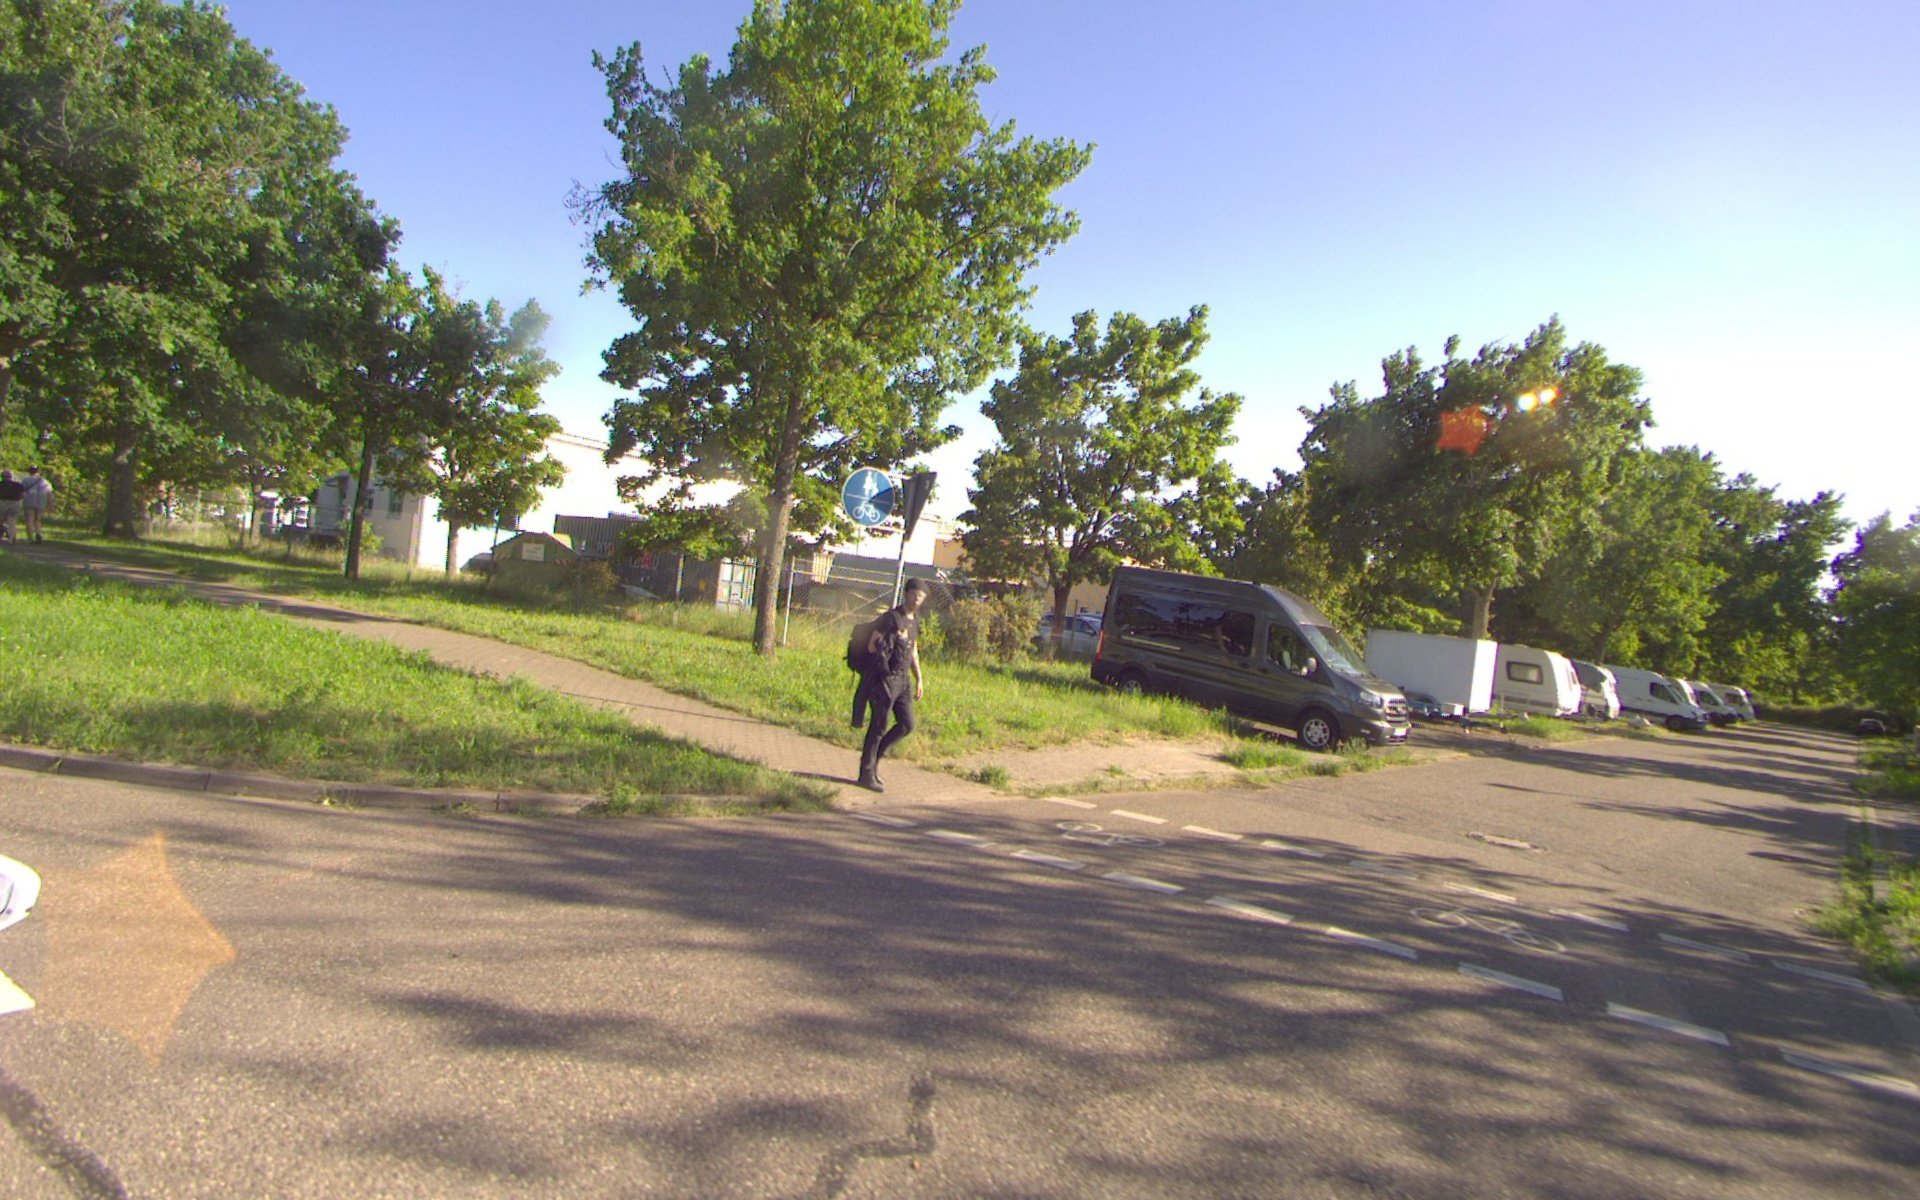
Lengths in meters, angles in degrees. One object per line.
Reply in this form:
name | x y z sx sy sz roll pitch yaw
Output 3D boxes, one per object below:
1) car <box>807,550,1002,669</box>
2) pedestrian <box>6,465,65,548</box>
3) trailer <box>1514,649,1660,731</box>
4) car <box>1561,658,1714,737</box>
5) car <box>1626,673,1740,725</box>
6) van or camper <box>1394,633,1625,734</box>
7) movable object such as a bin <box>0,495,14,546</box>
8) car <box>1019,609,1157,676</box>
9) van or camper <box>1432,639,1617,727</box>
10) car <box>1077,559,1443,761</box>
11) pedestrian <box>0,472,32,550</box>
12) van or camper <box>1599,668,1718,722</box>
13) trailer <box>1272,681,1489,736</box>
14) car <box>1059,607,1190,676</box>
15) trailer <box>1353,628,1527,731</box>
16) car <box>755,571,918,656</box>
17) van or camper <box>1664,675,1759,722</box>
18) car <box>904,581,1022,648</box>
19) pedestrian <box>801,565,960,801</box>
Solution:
car | -1.578 0.239 27.932 4.770 2.676 2.162 7 1 32
pedestrian | -21.186 -2.133 23.051 0.853 1.779 0.726 7 3 31
trailer | 25.540 3.617 41.055 4.577 2.607 2.178 7 1 40
car | 32.248 4.606 47.997 5.601 2.944 2.332 6 -2 41
car | 45.417 6.206 63.259 5.496 2.442 2.195 6 -2 41
van or camper | 19.404 2.895 35.851 6.688 2.607 2.176 7 0 44
movable object such as a bin | -21.637 -1.802 22.291 0.853 1.095 0.726 7 3 31
car | 4.173 1.378 32.914 3.935 1.660 1.836 7 1 34
van or camper | 22.281 3.244 39.918 5.840 2.607 2.176 7 0 44
car | 5.320 0.992 18.633 5.889 2.597 2.081 11 1 43
pedestrian | -20.870 -1.965 21.846 0.853 1.623 0.726 7 1 31
van or camper | 42.798 5.814 61.711 5.518 2.451 2.176 7 0 44
trailer | 10.932 2.806 26.369 4.758 0.659 2.223 7 0 44
car | 5.758 1.446 35.452 3.941 1.846 1.992 7 1 39
trailer | 13.476 2.202 28.350 3.739 2.336 2.184 7 0 44
car | -3.174 0.349 25.852 3.537 1.685 2.008 7 1 31
van or camper | 58.699 7.664 78.595 5.516 2.799 2.397 7 0 43
car | 0.079 0.623 44.638 4.944 2.087 2.081 11 1 43
pedestrian | -0.683 0.694 8.701 0.853 1.835 0.726 10 3 31
